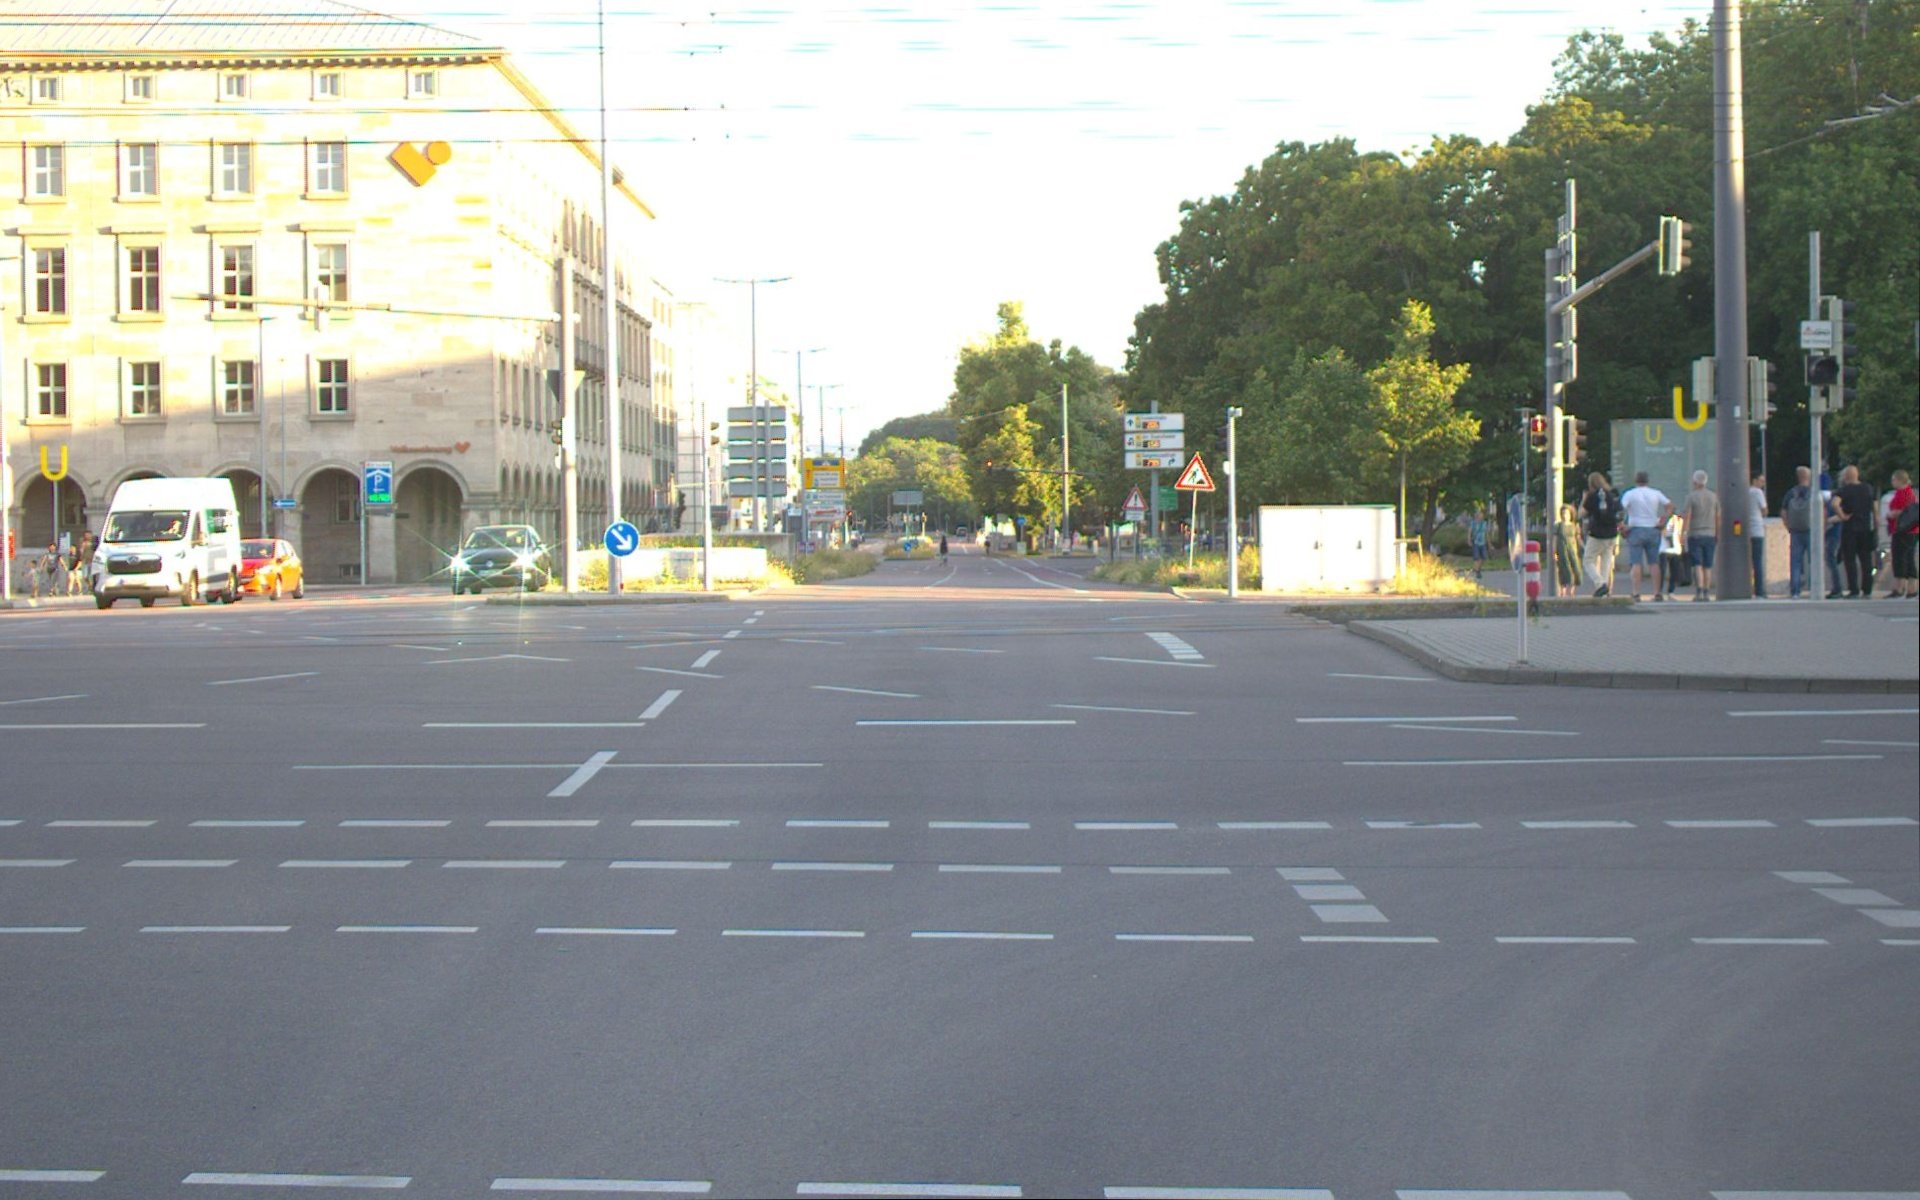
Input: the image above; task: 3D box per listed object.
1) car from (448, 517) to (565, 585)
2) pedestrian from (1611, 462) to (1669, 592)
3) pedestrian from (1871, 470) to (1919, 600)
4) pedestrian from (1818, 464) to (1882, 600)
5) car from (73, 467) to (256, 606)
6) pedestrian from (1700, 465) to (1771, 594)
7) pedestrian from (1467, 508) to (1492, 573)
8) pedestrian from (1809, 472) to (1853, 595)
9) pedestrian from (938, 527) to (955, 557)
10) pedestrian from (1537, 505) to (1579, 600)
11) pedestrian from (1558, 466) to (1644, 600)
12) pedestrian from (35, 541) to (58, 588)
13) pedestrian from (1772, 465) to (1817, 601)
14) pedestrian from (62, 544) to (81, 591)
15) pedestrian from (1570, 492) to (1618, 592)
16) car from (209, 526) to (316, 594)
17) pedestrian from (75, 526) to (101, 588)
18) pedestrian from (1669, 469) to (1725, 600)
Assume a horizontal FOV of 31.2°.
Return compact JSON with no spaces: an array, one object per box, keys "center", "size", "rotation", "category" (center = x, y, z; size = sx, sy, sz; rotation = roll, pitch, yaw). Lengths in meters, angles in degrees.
[{"center":[-9.555,-1.061,72.632],"size":[1.823,1.337,4.000],"rotation":[-1,2,2],"category":"car"},{"center":[9.065,-0.979,45.863],"size":[0.711,1.719,0.668],"rotation":[0,2,8],"category":"pedestrian"},{"center":[12.654,-0.880,46.045],"size":[0.845,1.728,0.705],"rotation":[0,2,12],"category":"pedestrian"},{"center":[11.828,-0.902,45.684],"size":[0.805,1.785,0.800],"rotation":[0,2,14],"category":"pedestrian"},{"center":[-16.692,-1.370,72.478],"size":[2.279,2.766,6.084],"rotation":[-1,2,1],"category":"car"},{"center":[10.522,-0.960,46.646],"size":[0.912,1.719,0.713],"rotation":[0,2,11],"category":"pedestrian"},{"center":[14.245,-1.637,94.282],"size":[0.642,1.754,0.524],"rotation":[0,2,8],"category":"pedestrian"},{"center":[11.943,-0.912,47.126],"size":[0.572,1.673,0.638],"rotation":[0,2,14],"category":"pedestrian"},{"center":[-0.785,-3.286,194.788],"size":[0.906,1.665,1.307],"rotation":[-1,2,-1],"category":"pedestrian"},{"center":[10.586,-0.849,60.849],"size":[0.560,1.649,0.901],"rotation":[0,2,20],"category":"pedestrian"},{"center":[8.337,-0.882,44.737],"size":[0.710,1.719,0.915],"rotation":[-1,2,-22],"category":"pedestrian"},{"center":[-25.418,-0.979,95.652],"size":[0.505,1.296,0.701],"rotation":[1,0,-5],"category":"pedestrian"},{"center":[11.087,-0.896,45.679],"size":[0.572,1.785,0.638],"rotation":[0,2,14],"category":"pedestrian"},{"center":[-24.521,-0.903,94.921],"size":[0.420,1.296,0.460],"rotation":[1,0,-5],"category":"pedestrian"},{"center":[11.173,-1.028,60.615],"size":[0.680,1.751,0.901],"rotation":[0,2,20],"category":"pedestrian"},{"center":[-16.435,-0.960,81.185],"size":[1.738,1.482,4.001],"rotation":[-1,2,-1],"category":"car"},{"center":[-24.447,-1.206,96.351],"size":[0.621,1.738,0.460],"rotation":[1,0,-5],"category":"pedestrian"},{"center":[9.797,-0.872,45.674],"size":[0.711,1.719,0.668],"rotation":[0,2,13],"category":"pedestrian"}]
